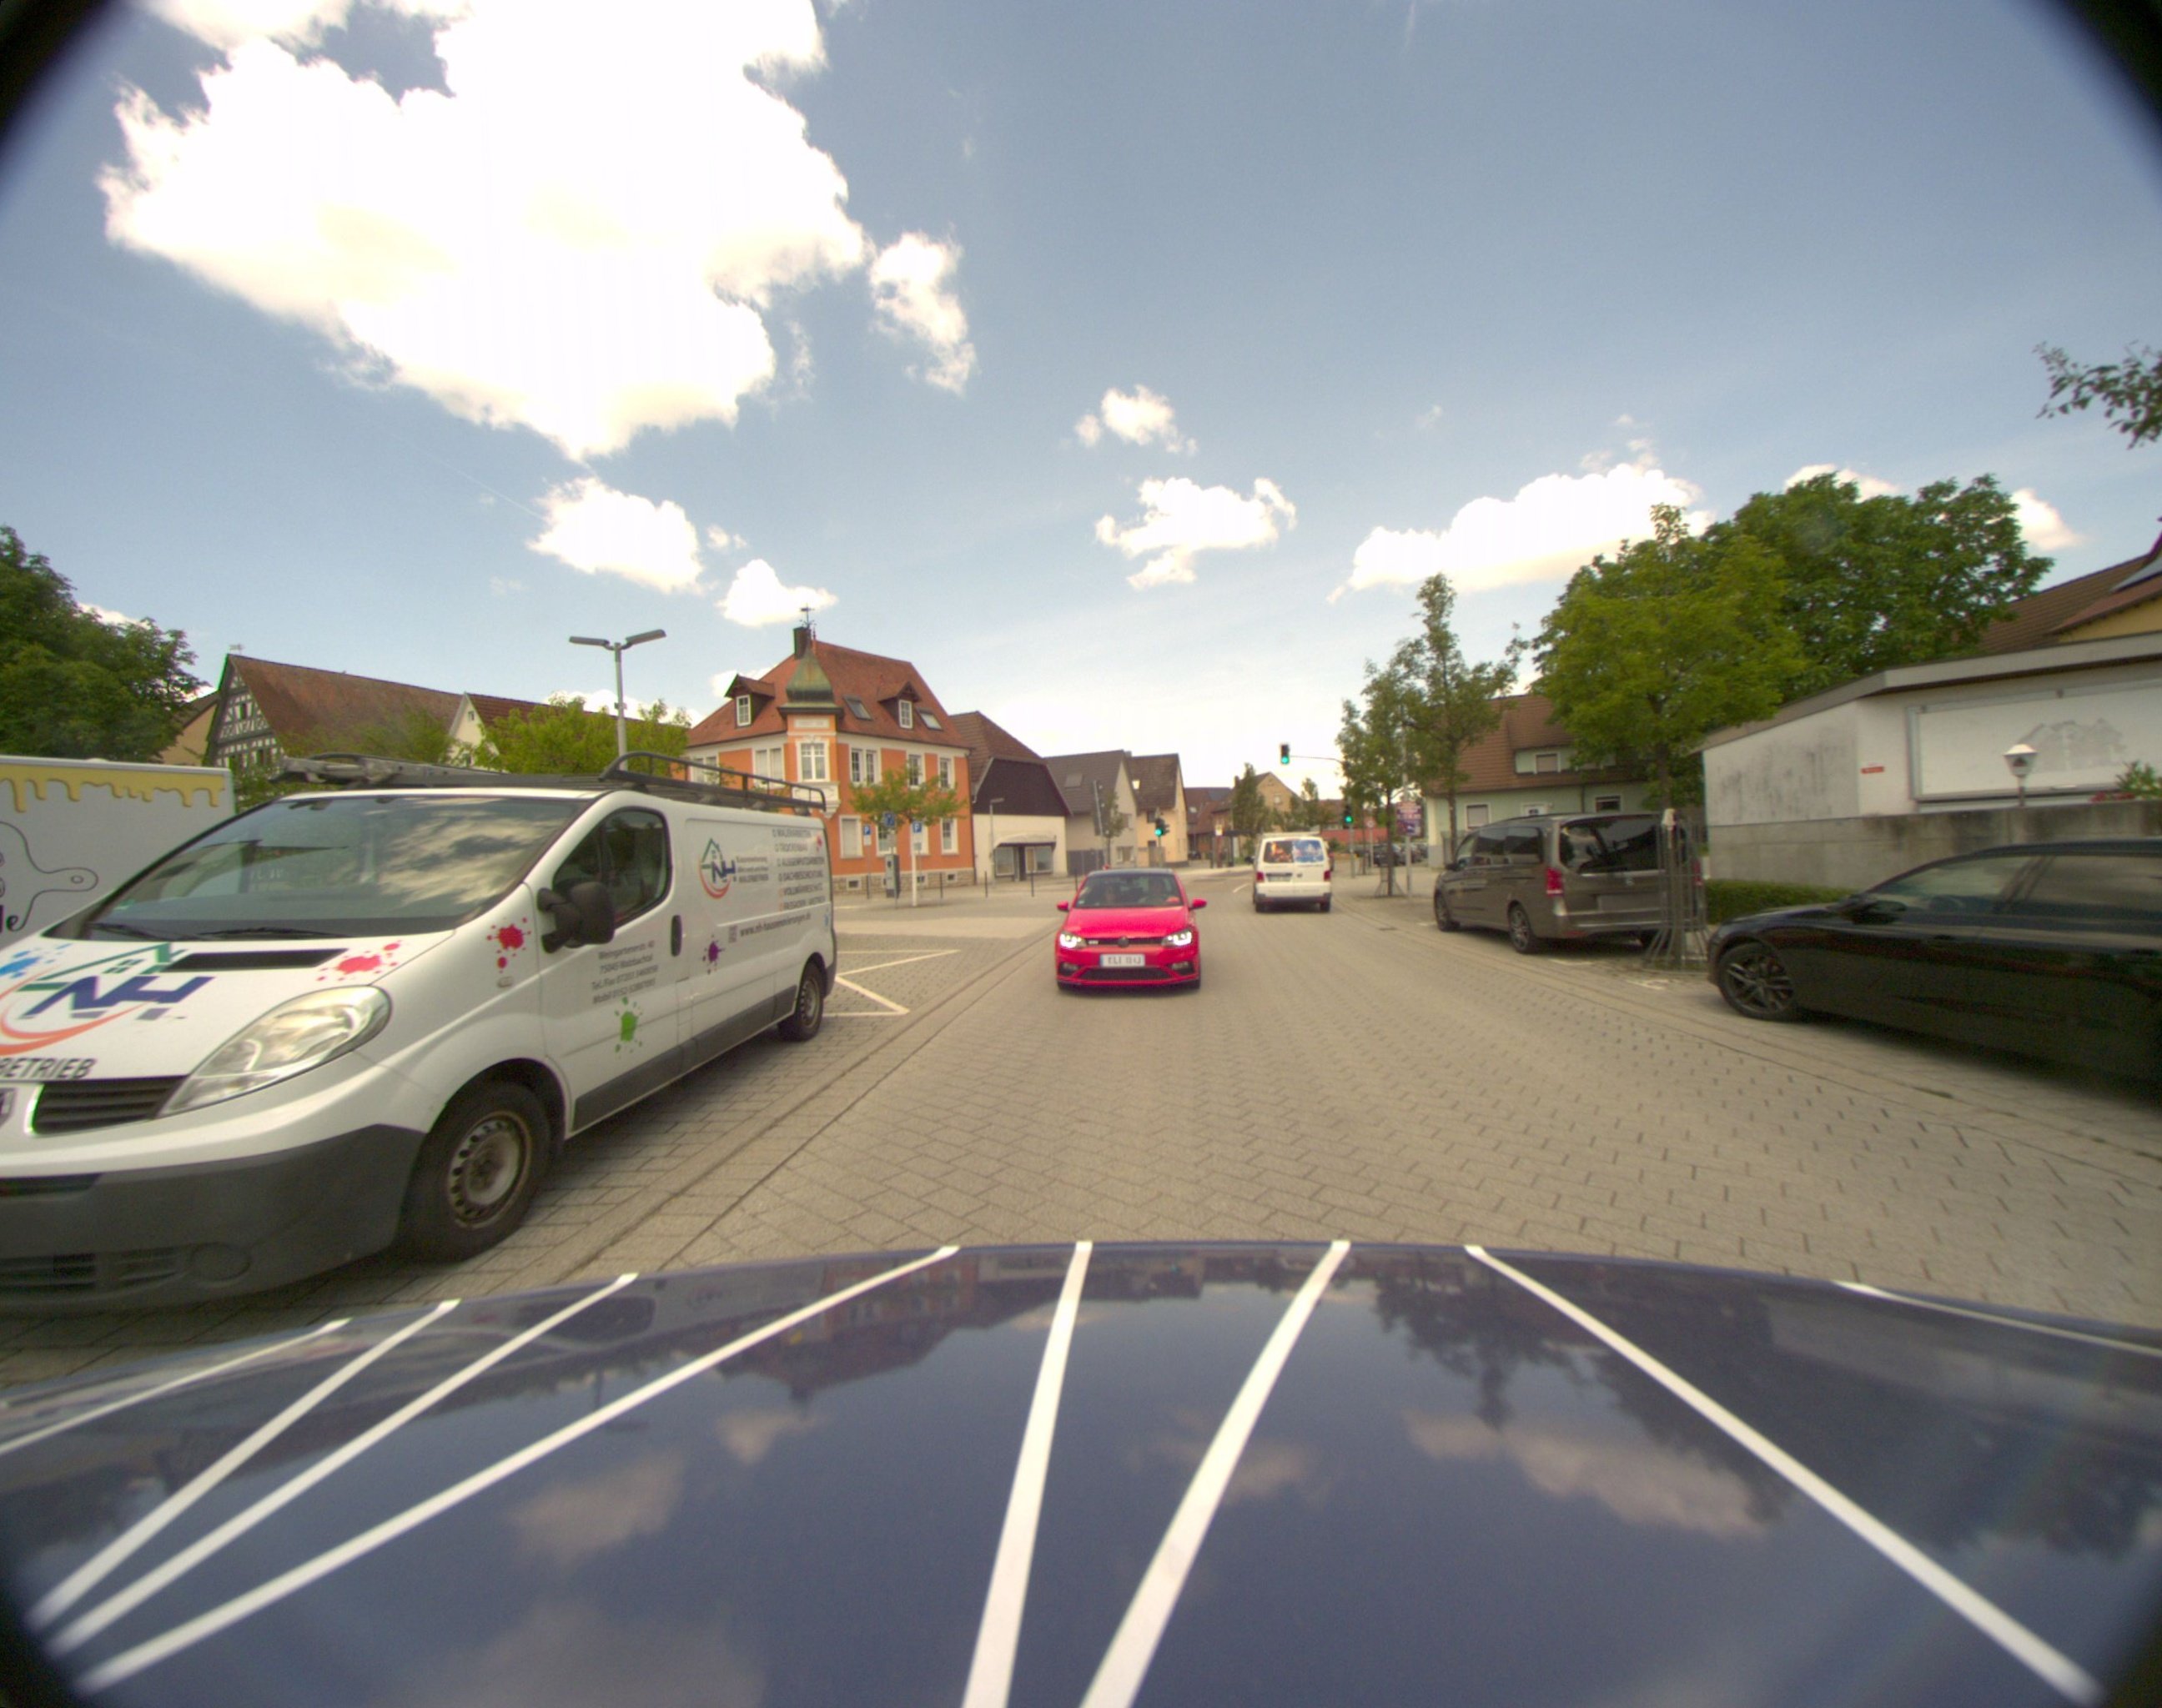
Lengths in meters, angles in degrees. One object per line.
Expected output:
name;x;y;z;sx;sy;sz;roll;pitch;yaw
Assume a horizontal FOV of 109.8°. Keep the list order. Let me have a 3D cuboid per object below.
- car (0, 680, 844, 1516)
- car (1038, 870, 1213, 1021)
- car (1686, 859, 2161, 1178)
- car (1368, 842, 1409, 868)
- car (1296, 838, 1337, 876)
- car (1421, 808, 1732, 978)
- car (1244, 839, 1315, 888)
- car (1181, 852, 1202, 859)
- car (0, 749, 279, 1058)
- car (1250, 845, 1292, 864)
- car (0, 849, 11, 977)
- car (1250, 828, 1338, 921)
car;-3.194;0.640;4.513;1.947;2.164;5.101;-1;0;0
car;0.389;0.994;9.864;1.783;1.403;3.886;-2;0;-2
car;6.100;0.792;4.400;1.820;1.415;4.539;-3;0;5
car;19.930;0.041;49.188;1.734;1.482;4.508;-2;1;31
car;13.525;0.134;43.534;1.660;2.002;4.006;-2;0;25
car;7.102;0.477;11.703;1.990;1.978;5.047;-3;0;8
car;8.426;0.391;32.708;1.998;1.869;4.867;-3;0;4
car;17.160;0.214;118.300;1.804;1.053;3.995;-2;0;-13
car;-12.107;0.580;6.122;2.756;2.946;7.121;-3;0;17
car;17.884;0.071;71.490;3.542;1.583;1.669;-3;0;20
car;-22.644;1.205;11.519;6.978;2.463;2.646;-2;0;-44
car;5.640;0.474;20.697;1.891;2.173;5.034;-2;0;12
